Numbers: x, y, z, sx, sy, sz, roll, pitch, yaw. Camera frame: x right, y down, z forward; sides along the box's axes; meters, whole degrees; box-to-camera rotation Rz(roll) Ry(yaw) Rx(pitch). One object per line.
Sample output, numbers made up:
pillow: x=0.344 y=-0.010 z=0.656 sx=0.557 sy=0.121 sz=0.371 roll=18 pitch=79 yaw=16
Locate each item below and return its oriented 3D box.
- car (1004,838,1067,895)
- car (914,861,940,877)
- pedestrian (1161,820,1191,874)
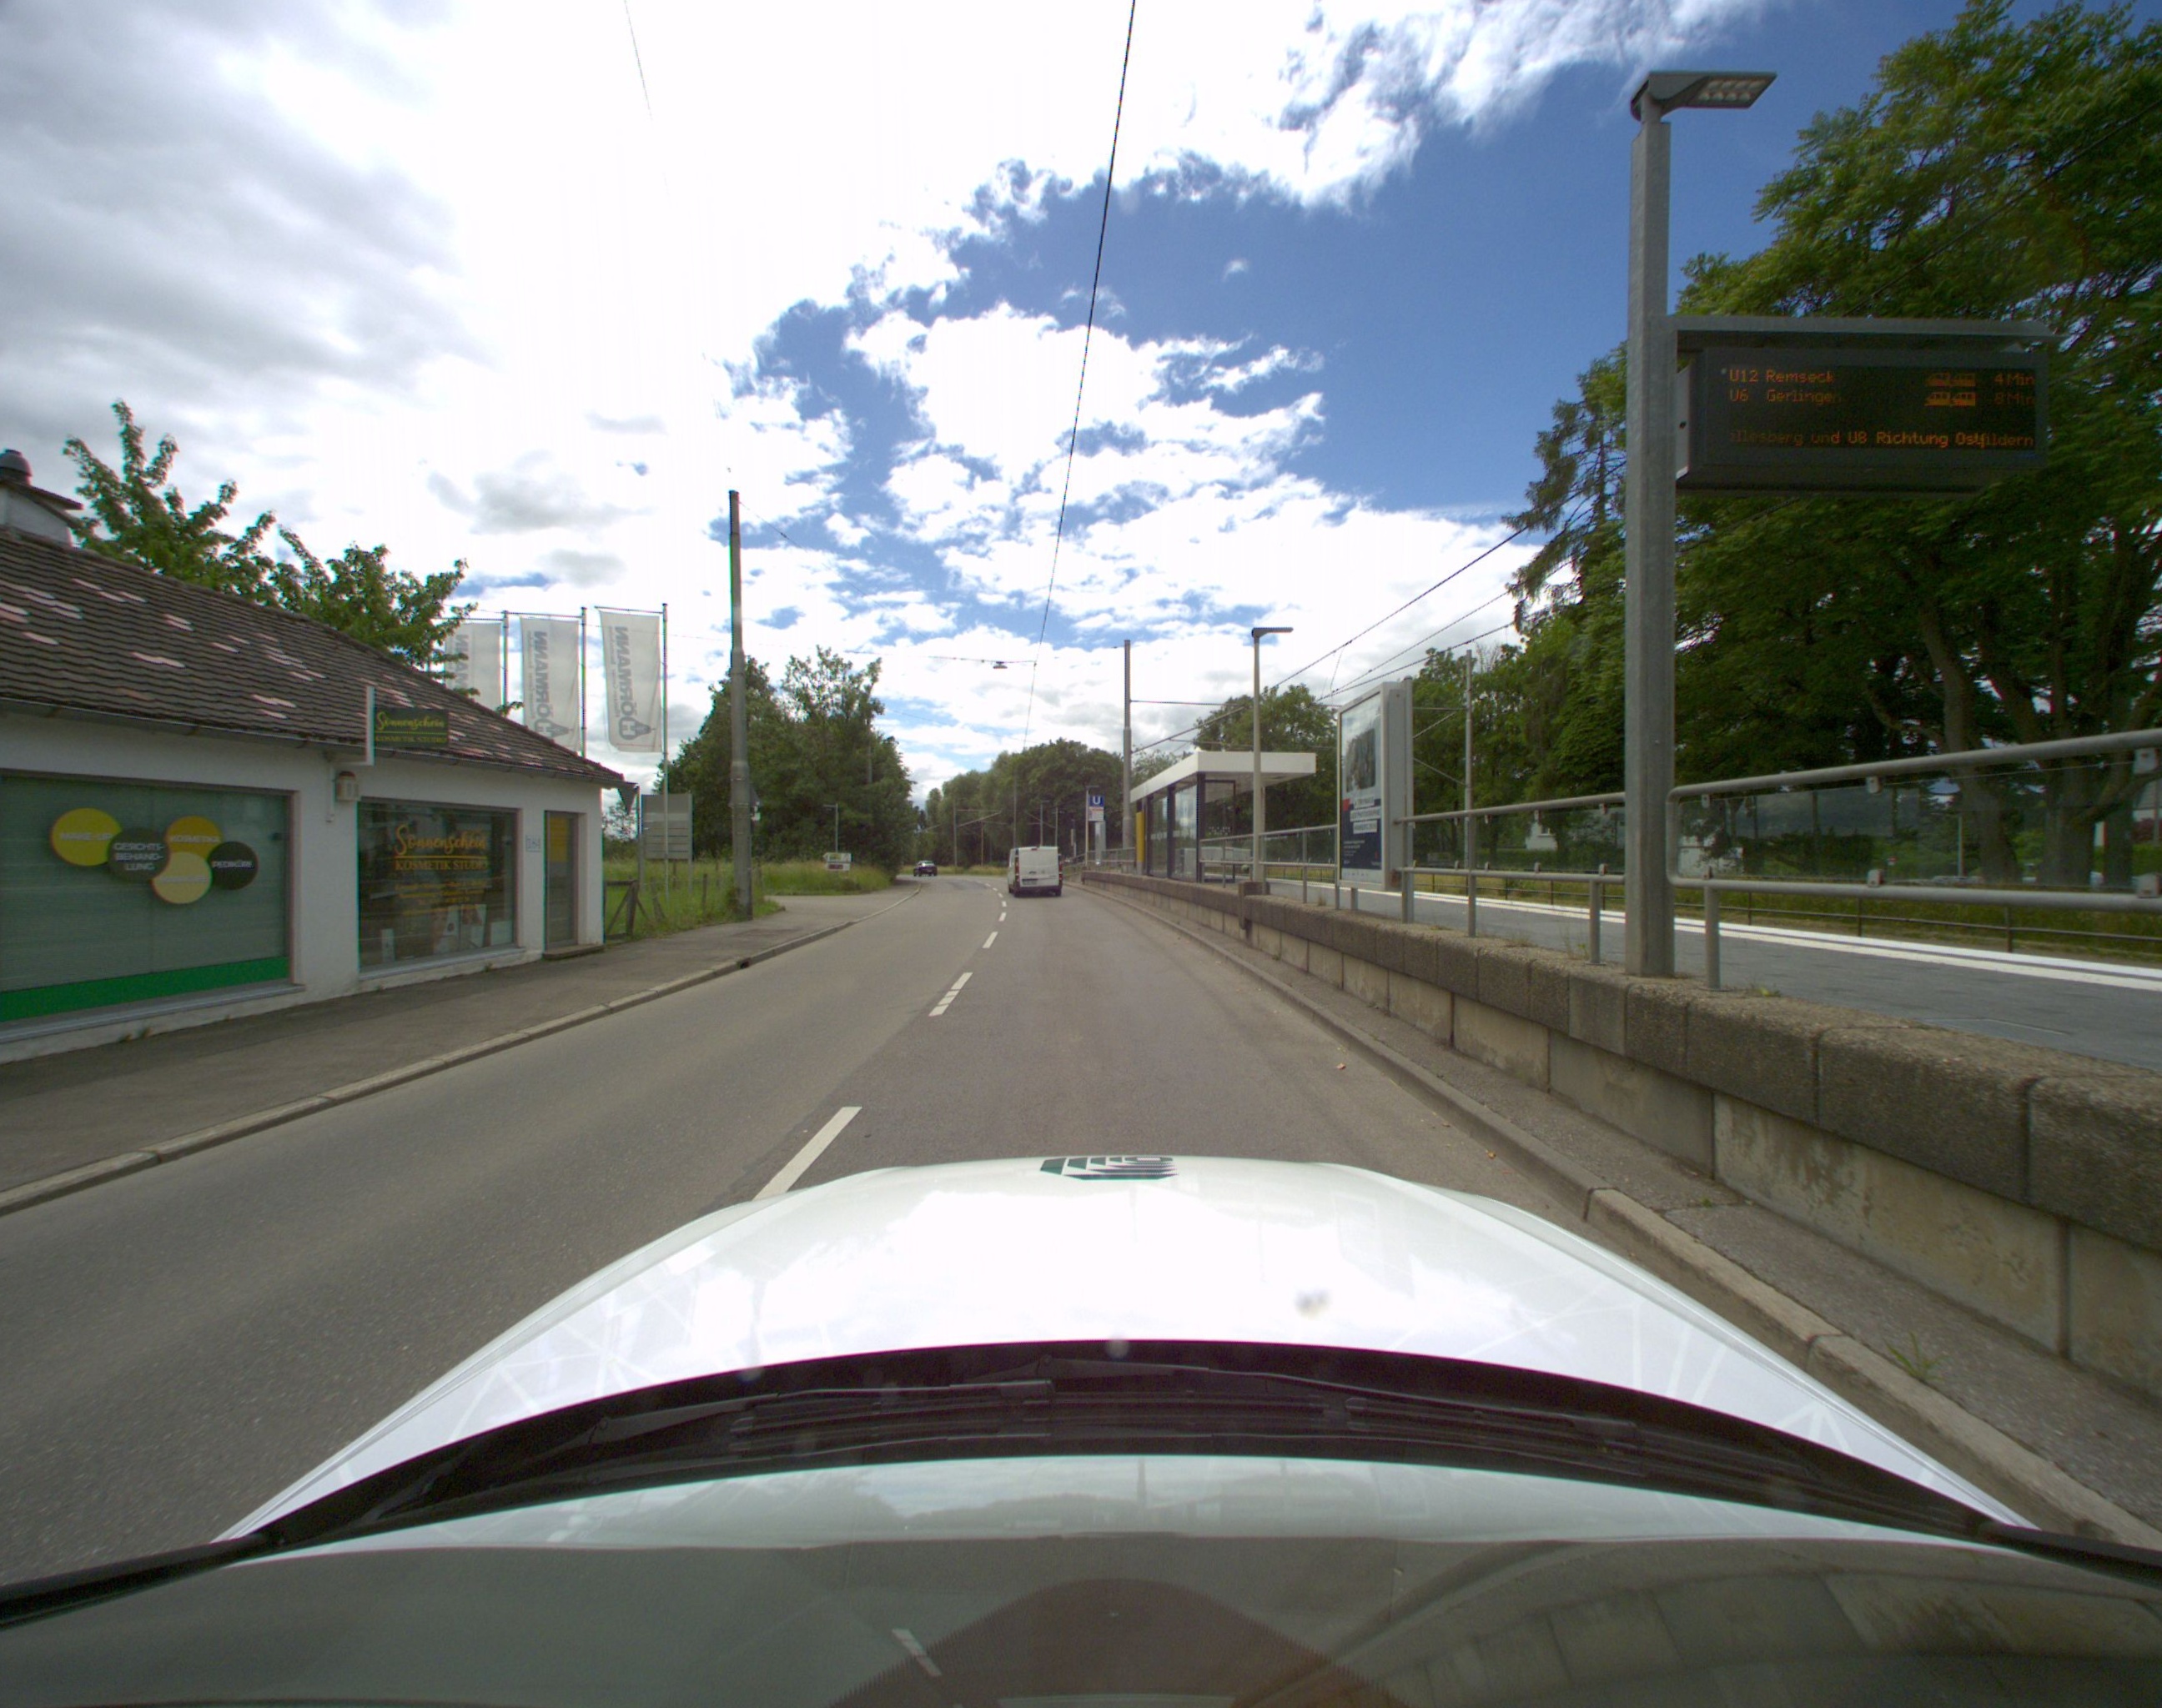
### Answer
car: x=-1.967 y=0.506 z=33.308 sx=2.116 sy=2.134 sz=5.425 roll=1 pitch=-1 yaw=-8
car: x=-16.618 y=1.620 z=87.603 sx=2.360 sy=1.564 sz=4.349 roll=1 pitch=-1 yaw=-15
pedestrian: x=2.526 y=-0.186 z=21.646 sx=0.637 sy=1.404 sz=0.763 roll=-1 pitch=1 yaw=-4
